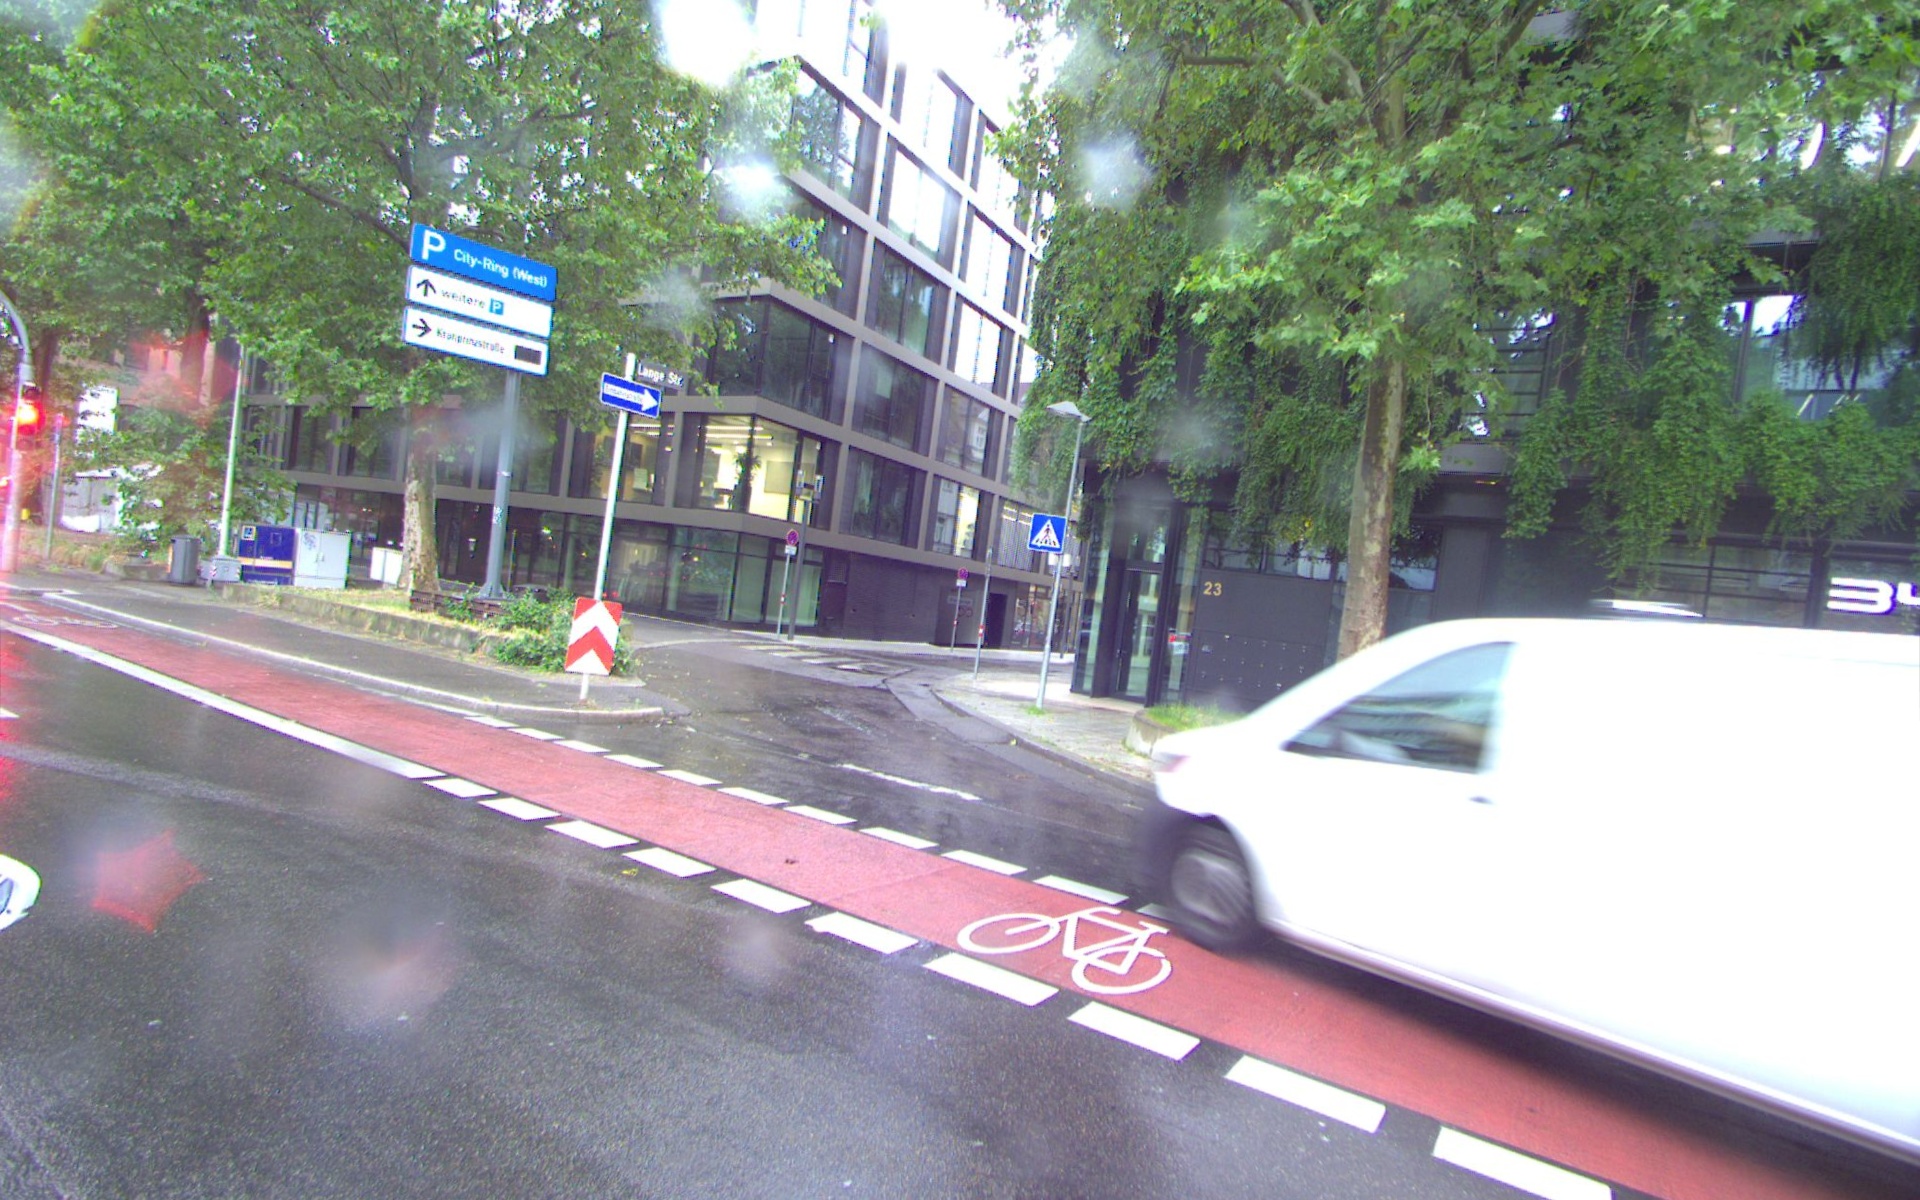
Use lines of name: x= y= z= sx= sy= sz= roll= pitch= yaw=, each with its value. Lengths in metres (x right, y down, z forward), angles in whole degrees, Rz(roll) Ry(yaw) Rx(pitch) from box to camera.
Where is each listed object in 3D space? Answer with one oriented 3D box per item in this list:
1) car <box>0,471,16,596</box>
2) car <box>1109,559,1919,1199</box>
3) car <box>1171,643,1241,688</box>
car: x=-12.183 y=-0.742 z=10.857 sx=3.935 sy=1.717 sz=1.881 roll=6 pitch=-2 yaw=33
car: x=3.113 y=0.995 z=4.171 sx=1.908 sy=1.969 sz=4.917 roll=8 pitch=-1 yaw=-35
car: x=10.784 y=2.895 z=43.927 sx=1.814 sy=1.607 sz=3.997 roll=6 pitch=-2 yaw=30
